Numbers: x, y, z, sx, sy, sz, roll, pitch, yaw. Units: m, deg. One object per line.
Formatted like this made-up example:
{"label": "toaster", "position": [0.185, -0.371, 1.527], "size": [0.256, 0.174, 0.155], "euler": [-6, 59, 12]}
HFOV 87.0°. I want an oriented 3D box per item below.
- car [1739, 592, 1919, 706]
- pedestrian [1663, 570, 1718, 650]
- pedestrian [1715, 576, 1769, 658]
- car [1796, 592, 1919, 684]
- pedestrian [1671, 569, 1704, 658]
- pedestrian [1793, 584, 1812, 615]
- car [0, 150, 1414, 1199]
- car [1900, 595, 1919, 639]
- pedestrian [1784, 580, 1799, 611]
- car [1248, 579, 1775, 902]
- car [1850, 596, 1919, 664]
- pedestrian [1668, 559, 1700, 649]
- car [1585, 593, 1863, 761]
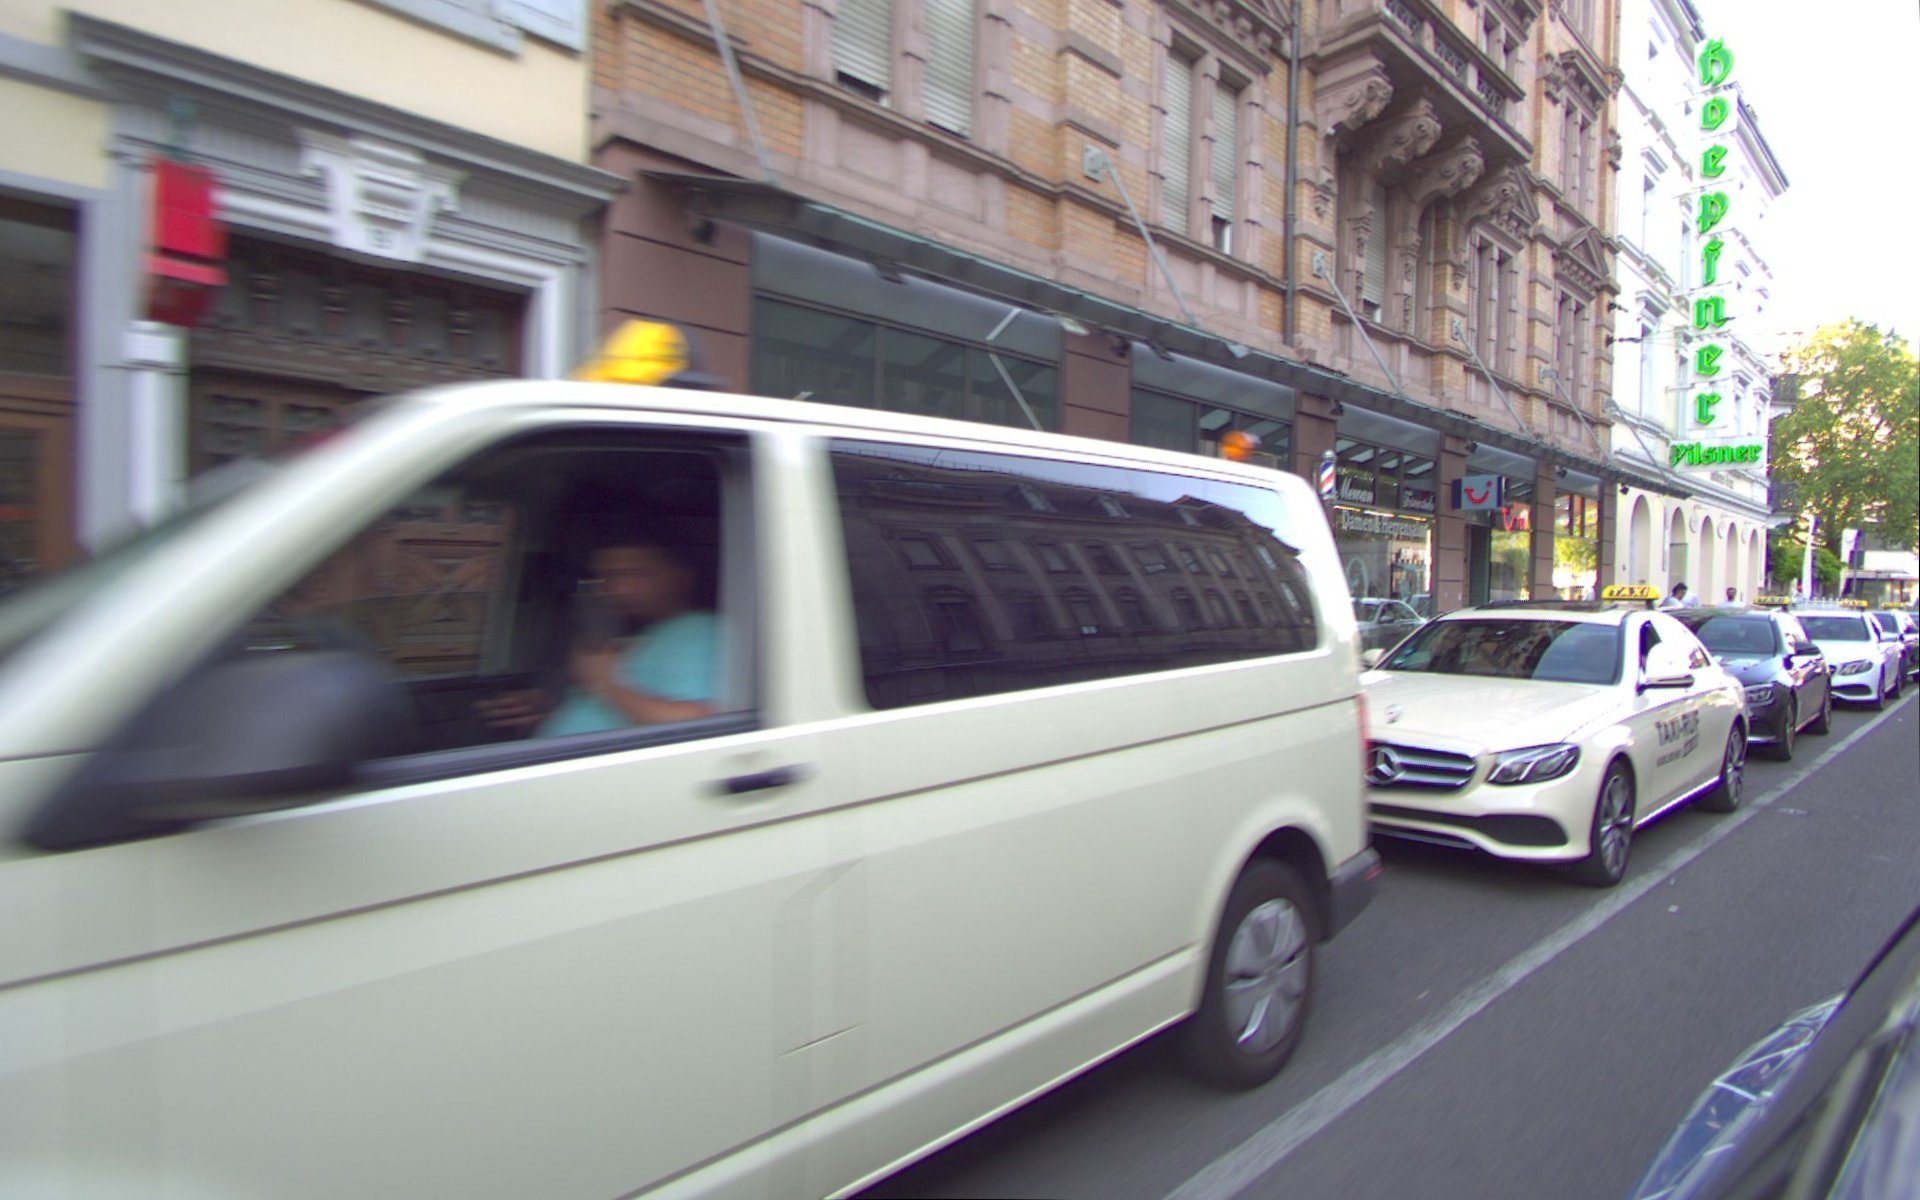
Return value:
{"label": "car", "position": [13.955, 0.662, 16.082], "size": [4.783, 1.530, 1.734], "euler": [-1, 0, -43]}
{"label": "pedestrian", "position": [16.377, 0.214, 22.686], "size": [0.542, 1.709, 0.761], "euler": [0, 5, -43]}
{"label": "pedestrian", "position": [16.904, 0.366, 21.890], "size": [0.476, 1.709, 0.622], "euler": [2, 4, -25]}
{"label": "car", "position": [18.186, 0.668, 20.039], "size": [4.363, 1.610, 1.736], "euler": [-1, 0, -40]}
{"label": "pedestrian", "position": [15.018, 0.274, 20.890], "size": [0.373, 1.790, 0.653], "euler": [4, 3, 44]}
{"label": "pedestrian", "position": [35.284, -0.028, 42.372], "size": [0.482, 1.312, 0.531], "euler": [1, 0, -42]}
{"label": "car", "position": [-0.686, 0.462, 2.783], "size": [4.621, 1.948, 1.878], "euler": [-1, -1, -43]}
{"label": "car", "position": [34.392, 0.598, 35.504], "size": [4.471, 1.407, 1.699], "euler": [-1, 4, -43]}
{"label": "pedestrian", "position": [42.837, -0.256, 52.133], "size": [0.523, 1.578, 0.490], "euler": [1, 0, -42]}
{"label": "car", "position": [4.048, 0.675, 6.990], "size": [4.697, 1.502, 1.807], "euler": [0, -1, -43]}
{"label": "car", "position": [23.182, 0.669, 24.662], "size": [4.614, 1.494, 1.808], "euler": [-1, 0, -43]}
{"label": "pedestrian", "position": [14.612, 0.079, 20.420], "size": [0.373, 1.790, 0.448], "euler": [4, 3, 44]}
{"label": "car", "position": [8.775, 0.686, 11.446], "size": [4.739, 1.495, 1.728], "euler": [-1, 0, -43]}
